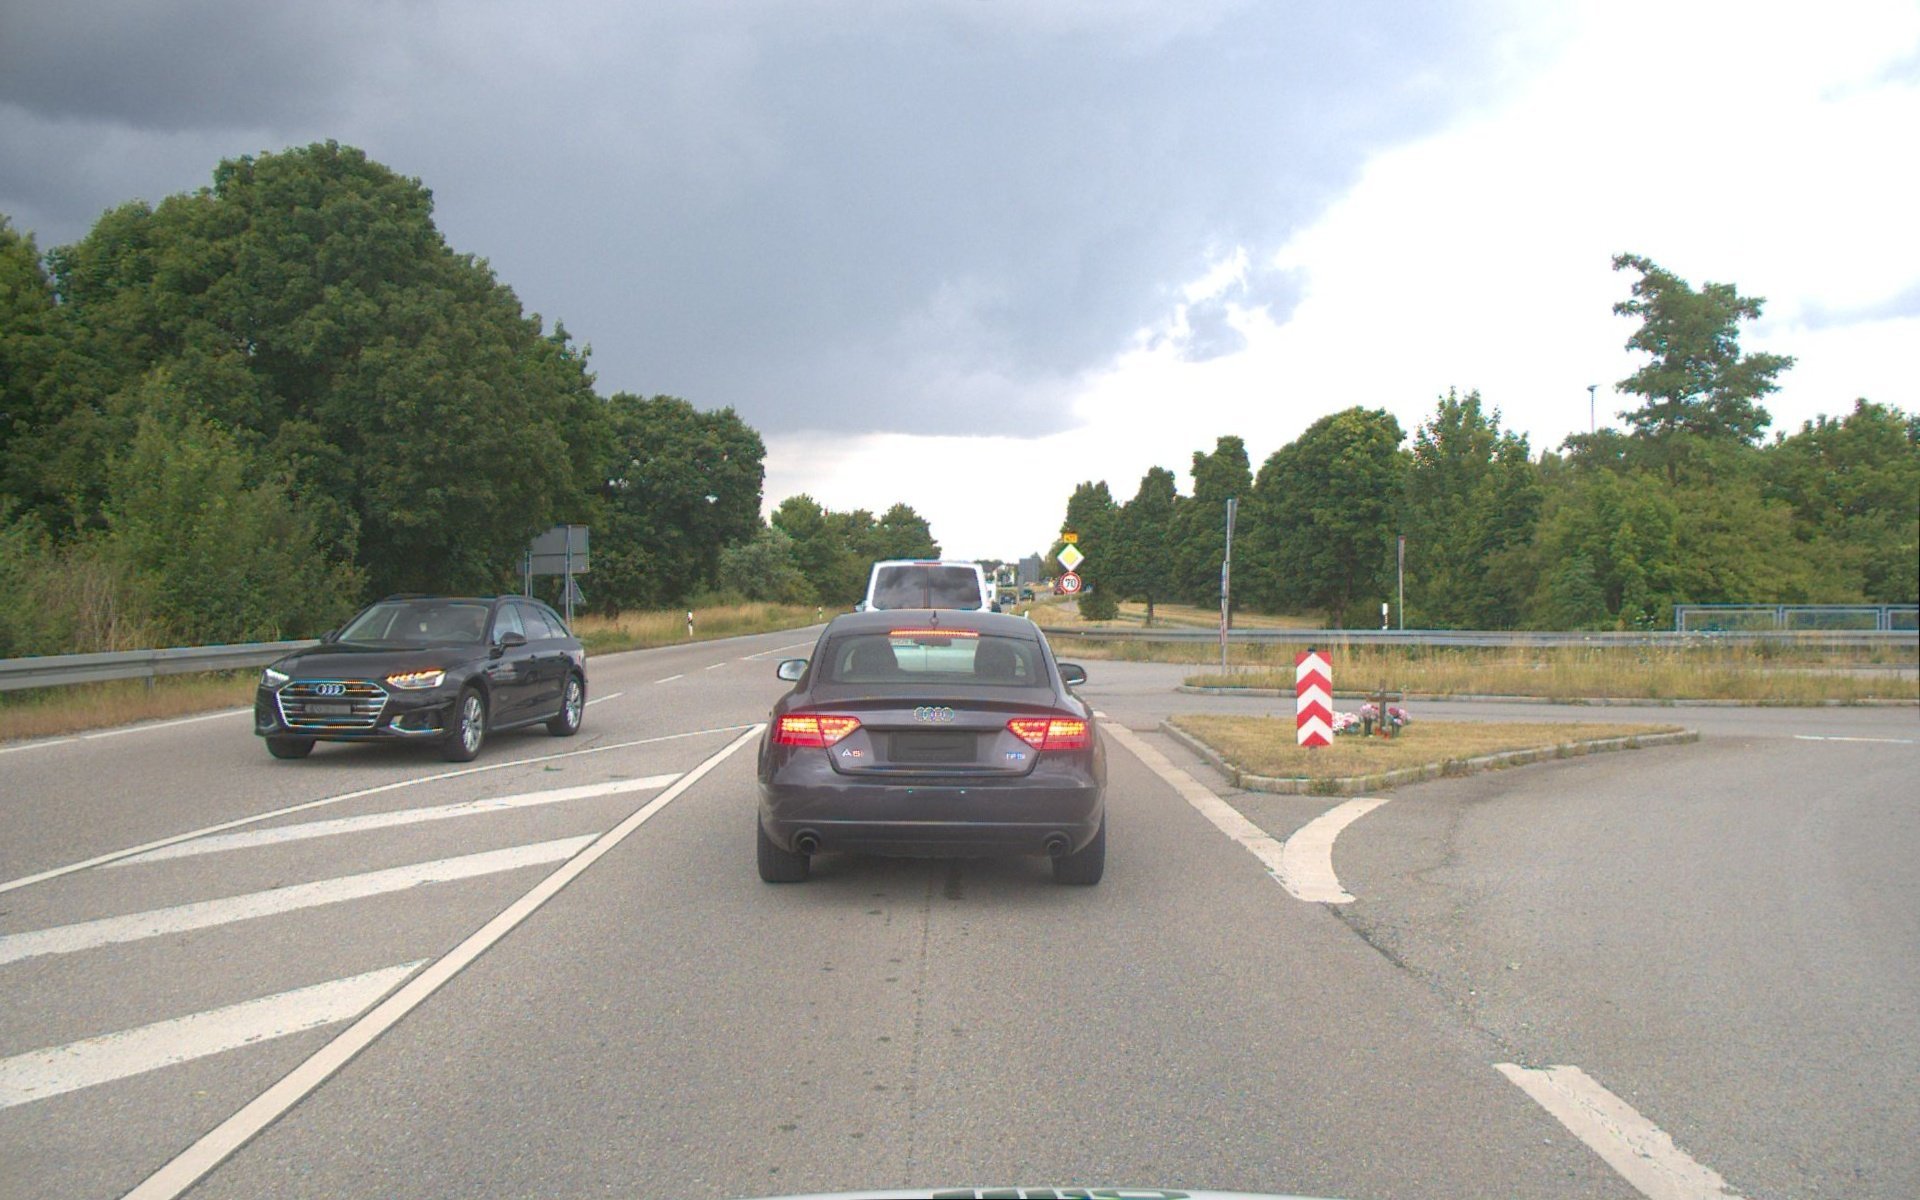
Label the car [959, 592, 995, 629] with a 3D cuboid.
[{"bbox_3d":[0.991,0.584,95.730,1.952,2.125,4.001,0,0,2],"label":"car"}]

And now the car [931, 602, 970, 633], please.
[{"bbox_3d":[-0.460,0.847,81.562,1.758,1.489,3.249,0,0,3],"label":"car"}]

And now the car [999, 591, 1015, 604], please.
[{"bbox_3d":[5.411,-0.274,191.041,1.683,1.477,4.000,1,0,0],"label":"car"}]

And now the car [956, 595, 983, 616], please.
[{"bbox_3d":[0.742,0.405,125.065,1.699,1.541,3.749,0,0,5],"label":"car"}]

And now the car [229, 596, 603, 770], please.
[{"bbox_3d":[-4.911,0.668,15.714,1.782,1.398,4.613,0,0,4],"label":"car"}]

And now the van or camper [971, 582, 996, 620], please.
[{"bbox_3d":[2.190,0.078,154.803,2.292,3.542,5.719,0,0,1],"label":"van or camper"}]

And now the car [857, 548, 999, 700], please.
[{"bbox_3d":[-0.438,0.289,23.138,1.801,1.915,3.999,1,0,-1],"label":"car"}]

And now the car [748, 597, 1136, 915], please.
[{"bbox_3d":[-0.111,0.707,9.520,1.746,1.400,3.999,1,0,-1],"label":"car"}]

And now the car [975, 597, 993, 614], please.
[{"bbox_3d":[1.993,0.429,137.175,1.231,1.377,3.468,0,0,5],"label":"car"}]

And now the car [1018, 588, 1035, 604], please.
[{"bbox_3d":[8.768,-0.526,218.029,1.953,2.049,3.999,0,0,-1],"label":"car"}]
